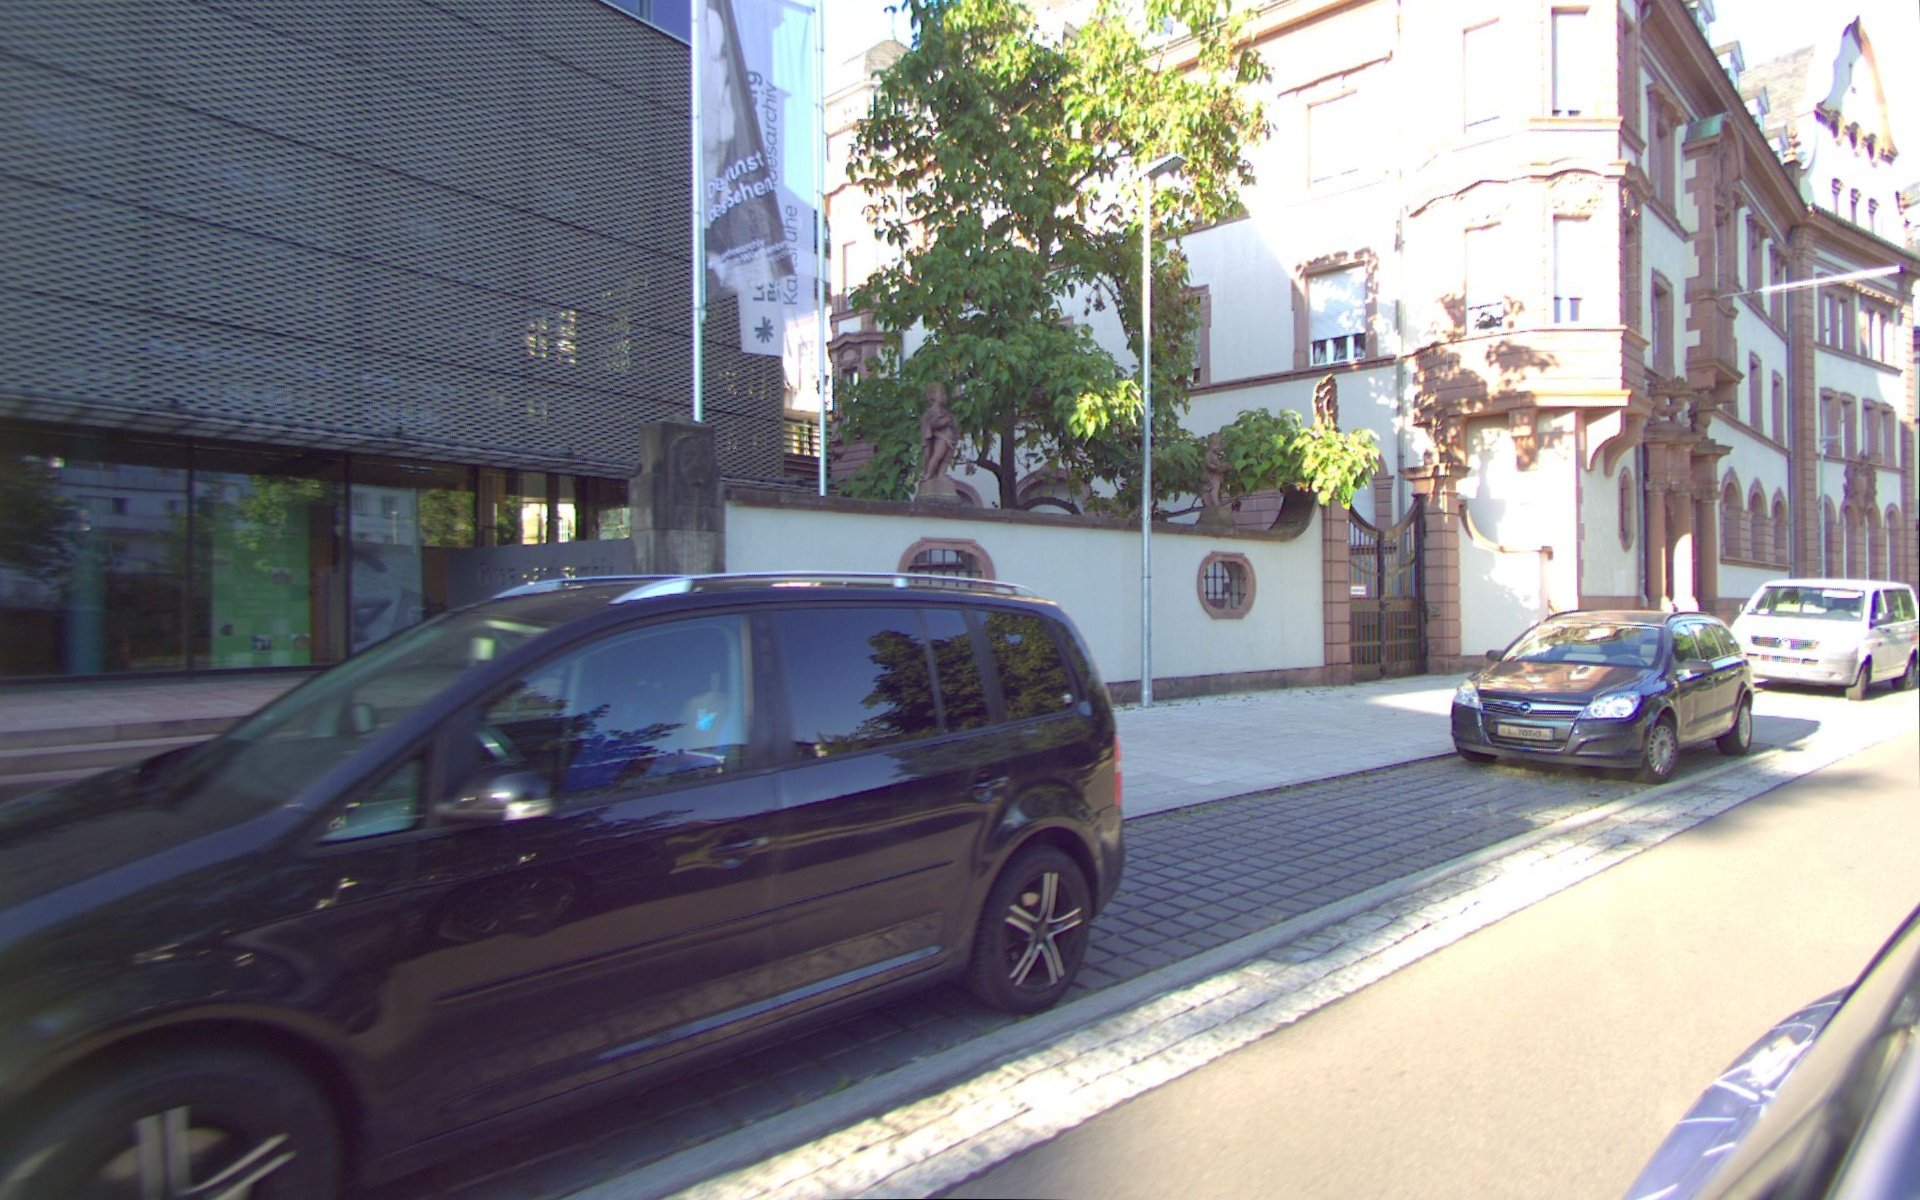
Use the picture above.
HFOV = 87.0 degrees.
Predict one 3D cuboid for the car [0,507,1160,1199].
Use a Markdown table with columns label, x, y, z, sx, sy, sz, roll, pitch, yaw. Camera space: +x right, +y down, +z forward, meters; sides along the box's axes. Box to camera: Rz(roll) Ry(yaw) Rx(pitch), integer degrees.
| label | x | y | z | sx | sy | sz | roll | pitch | yaw |
| --- | --- | --- | --- | --- | --- | --- | --- | --- | --- |
| car | -1.232 | 0.659 | 3.502 | 4.043 | 1.690 | 1.726 | 0 | 0 | -42 |

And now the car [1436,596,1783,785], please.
| label | x | y | z | sx | sy | sz | roll | pitch | yaw |
| --- | --- | --- | --- | --- | --- | --- | --- | --- | --- |
| car | 6.704 | 0.720 | 10.243 | 4.398 | 1.485 | 1.751 | -1 | 1 | -40 |

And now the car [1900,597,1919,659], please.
| label | x | y | z | sx | sy | sz | roll | pitch | yaw |
| --- | --- | --- | --- | --- | --- | --- | --- | --- | --- |
| car | 24.034 | 0.631 | 24.109 | 4.121 | 1.420 | 1.684 | -1 | 0 | -37 |

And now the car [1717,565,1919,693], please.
| label | x | y | z | sx | sy | sz | roll | pitch | yaw |
| --- | --- | --- | --- | --- | --- | --- | --- | --- | --- |
| car | 15.684 | 0.414 | 18.123 | 4.757 | 1.990 | 2.000 | 0 | 2 | -35 |
